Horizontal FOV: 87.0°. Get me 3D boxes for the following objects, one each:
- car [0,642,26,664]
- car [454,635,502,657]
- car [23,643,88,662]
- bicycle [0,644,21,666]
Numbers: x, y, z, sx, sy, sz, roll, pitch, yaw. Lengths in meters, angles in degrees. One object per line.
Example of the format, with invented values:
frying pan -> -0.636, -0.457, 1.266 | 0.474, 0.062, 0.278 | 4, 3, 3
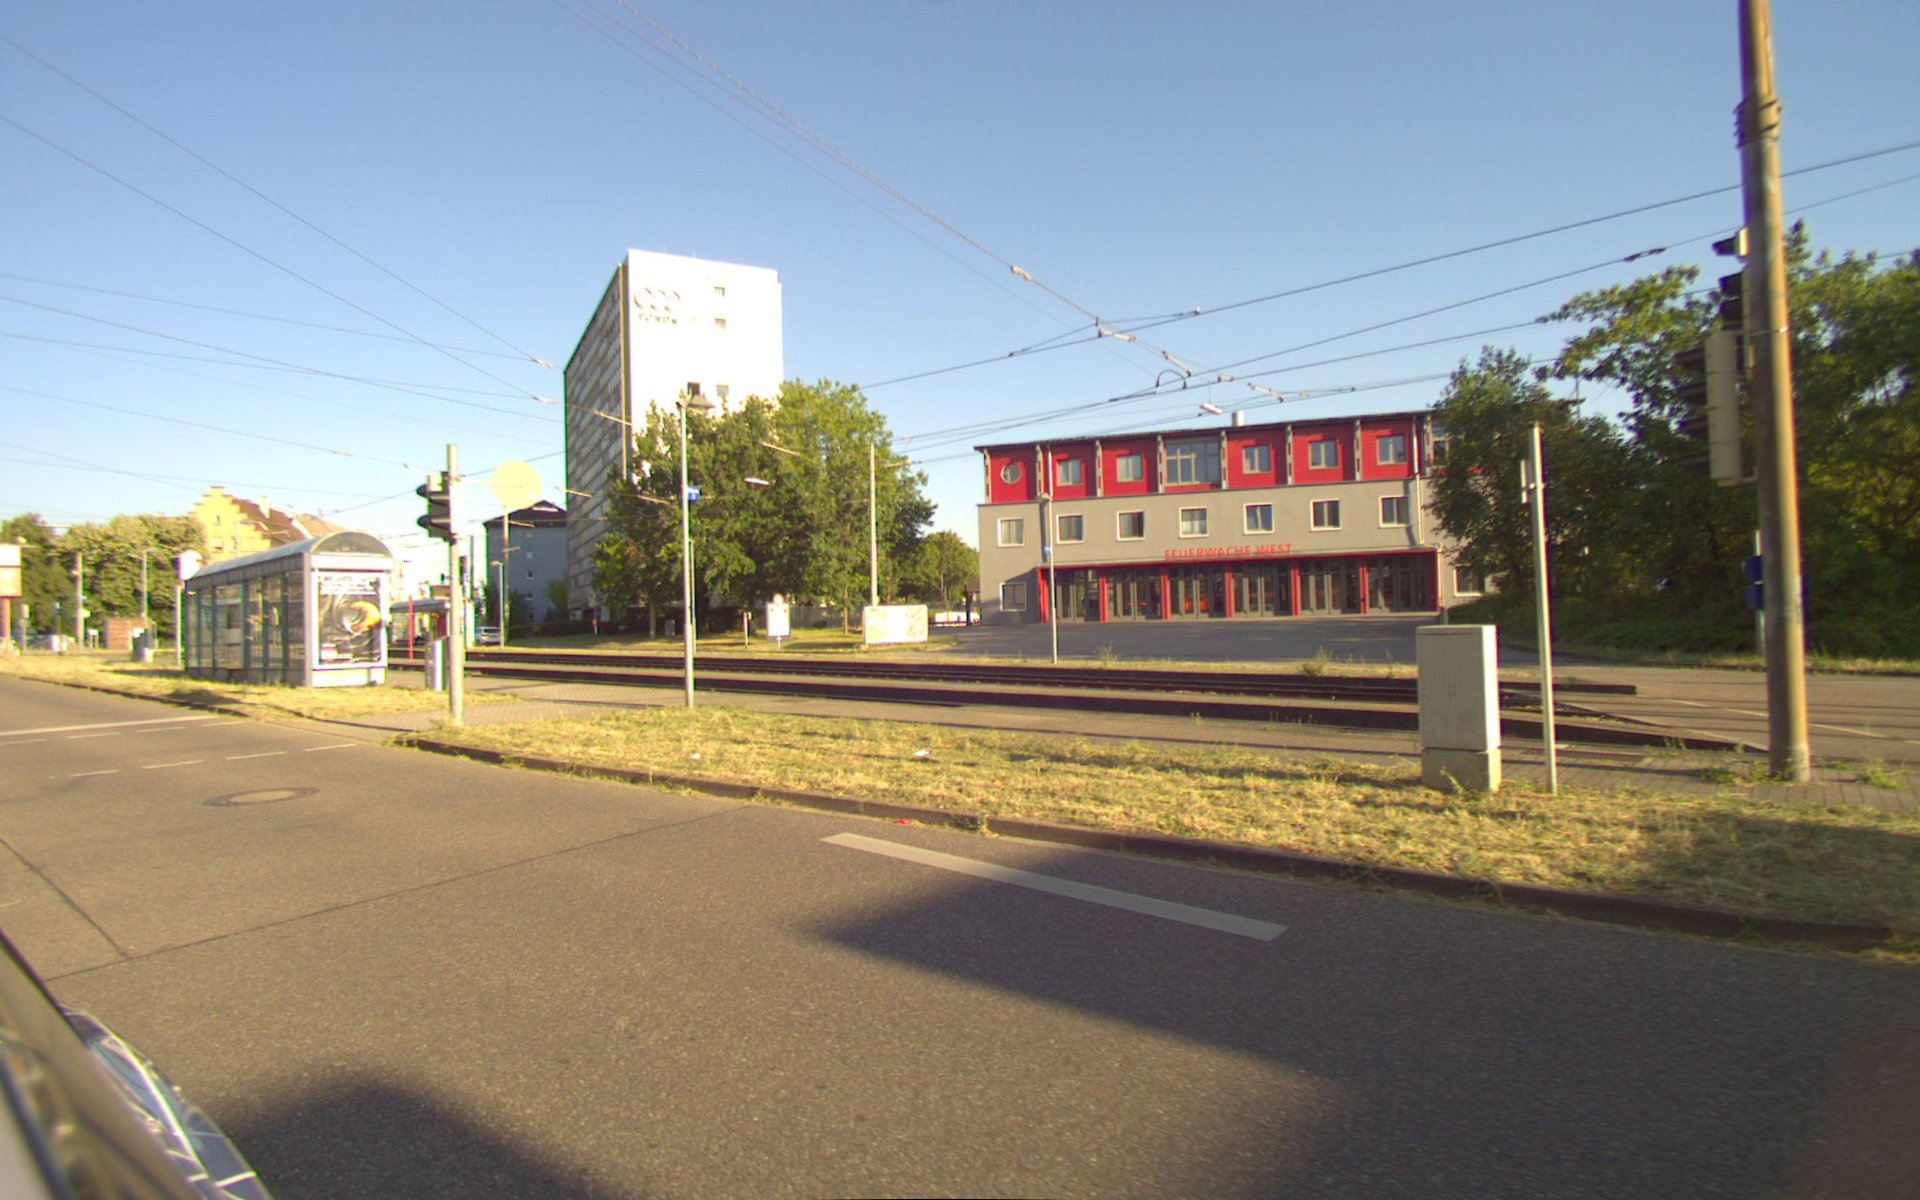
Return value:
car -> -66.013, 3.656, 68.663 | 1.716, 1.485, 3.981 | -2, -2, -3
car -> -35.695, 3.436, 74.953 | 4.436, 1.560, 1.717 | -3, -2, 43
car -> -71.824, 4.167, 80.439 | 1.716, 1.425, 3.981 | -2, -2, -3
bicycle -> -45.427, 2.590, 48.041 | 0.597, 1.001, 1.752 | 0, -2, -20
